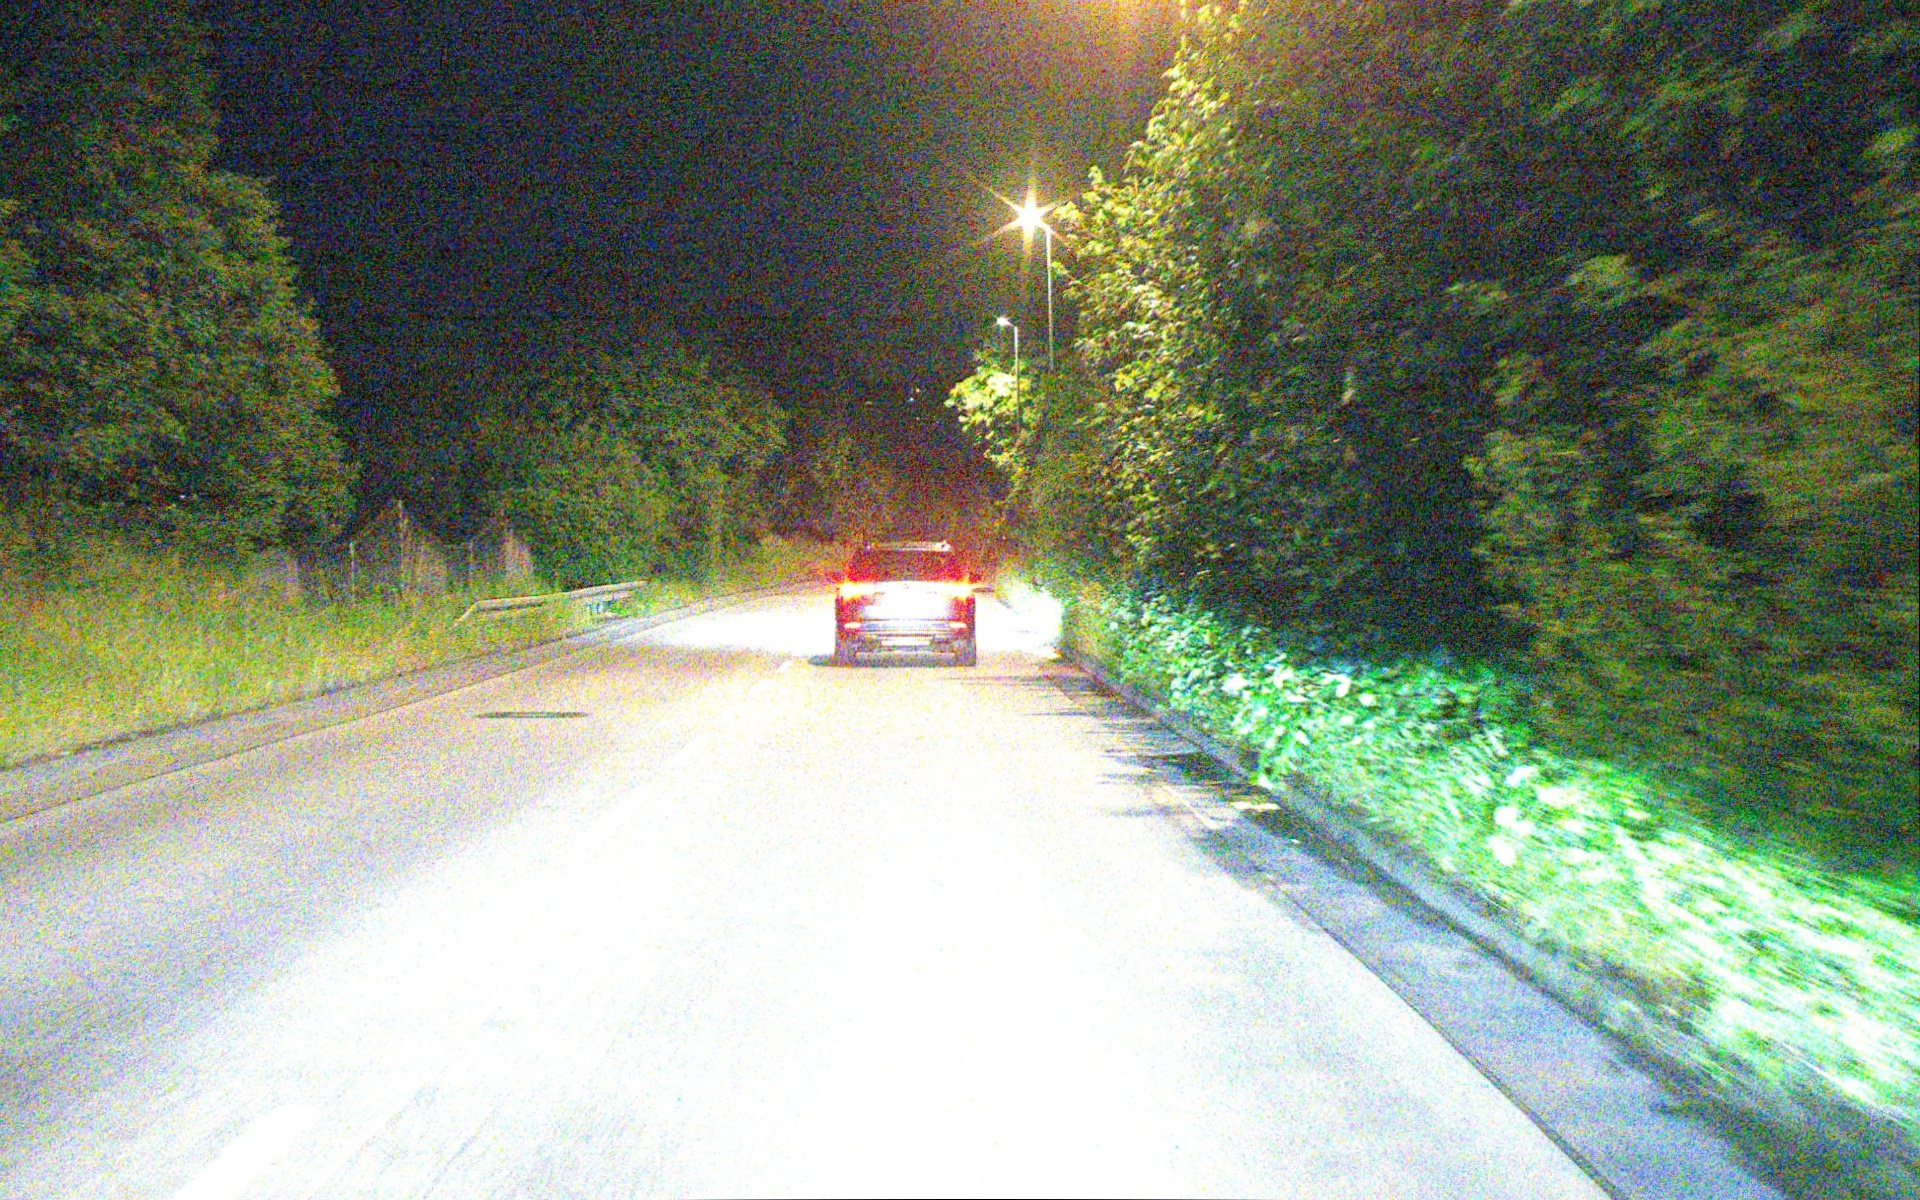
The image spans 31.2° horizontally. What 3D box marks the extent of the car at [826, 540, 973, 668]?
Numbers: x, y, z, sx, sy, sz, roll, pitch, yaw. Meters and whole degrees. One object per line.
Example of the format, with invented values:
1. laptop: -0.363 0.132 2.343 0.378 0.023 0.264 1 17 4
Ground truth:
1. car: -0.781 0.015 44.663 1.814 1.568 3.944 0 1 -1
